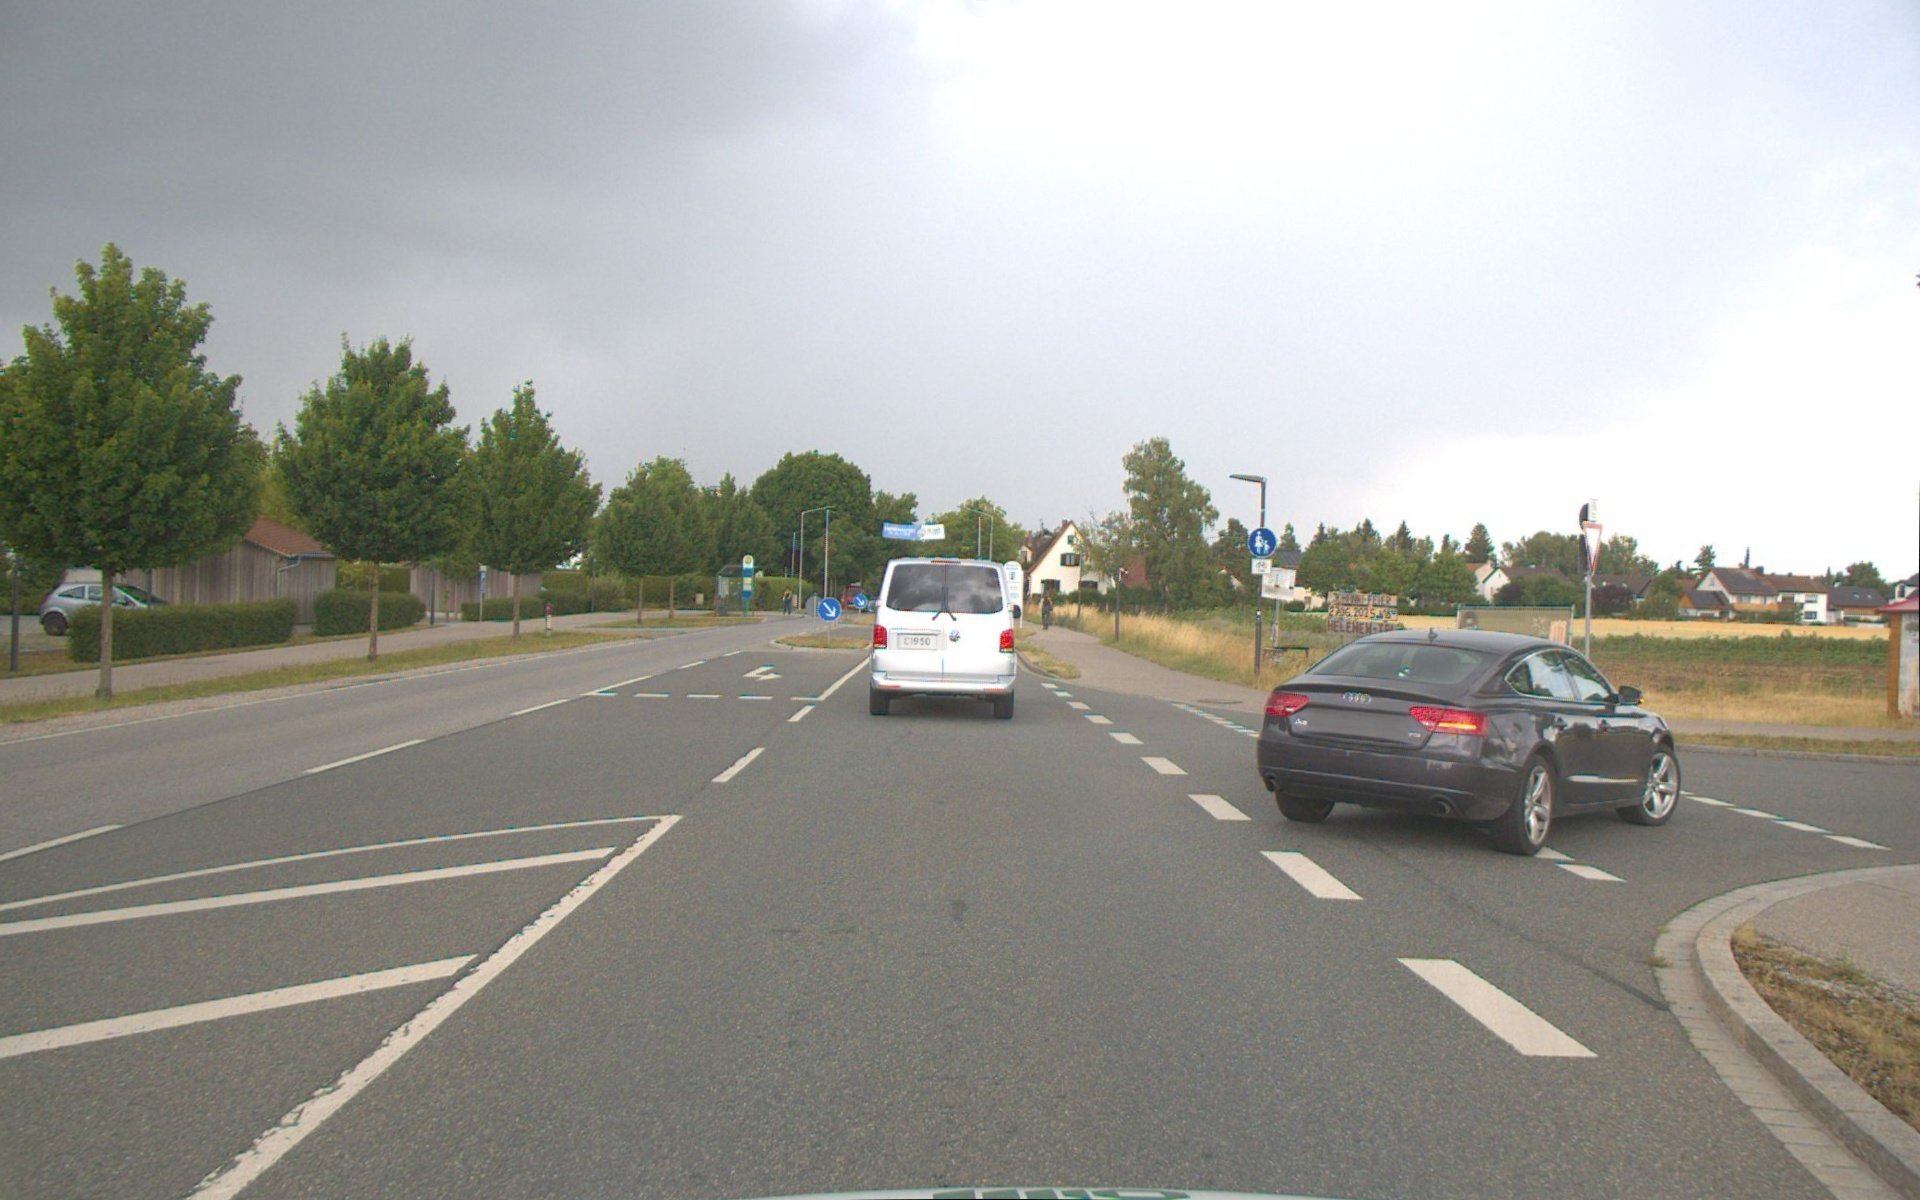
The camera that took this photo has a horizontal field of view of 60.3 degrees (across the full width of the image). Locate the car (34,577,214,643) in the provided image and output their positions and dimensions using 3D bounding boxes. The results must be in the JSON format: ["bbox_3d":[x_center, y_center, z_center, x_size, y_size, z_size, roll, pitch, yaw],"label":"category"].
[{"bbox_3d":[-23.100,0.266,45.805,3.905,1.583,2.000,3,1,0],"label":"car"}]

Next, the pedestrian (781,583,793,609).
[{"bbox_3d":[-10.014,-0.232,95.848,0.611,1.551,0.679,0,0,-1],"label":"pedestrian"}]

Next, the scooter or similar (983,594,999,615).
[{"bbox_3d":[1.655,0.215,89.412,0.831,1.123,1.094,0,0,-1],"label":"scooter or similar"}]

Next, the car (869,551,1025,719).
[{"bbox_3d":[-0.230,0.400,21.855,1.789,1.946,3.998,2,0,-2],"label":"car"}]

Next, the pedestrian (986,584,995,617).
[{"bbox_3d":[1.615,0.008,88.513,0.475,1.762,0.642,0,0,-1],"label":"pedestrian"}]

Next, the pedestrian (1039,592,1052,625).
[{"bbox_3d":[4.022,0.400,77.843,0.611,1.551,0.679,0,0,-1],"label":"pedestrian"}]

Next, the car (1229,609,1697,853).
[{"bbox_3d":[3.811,0.858,11.974,1.796,1.413,4.366,0,-2,38],"label":"car"}]
